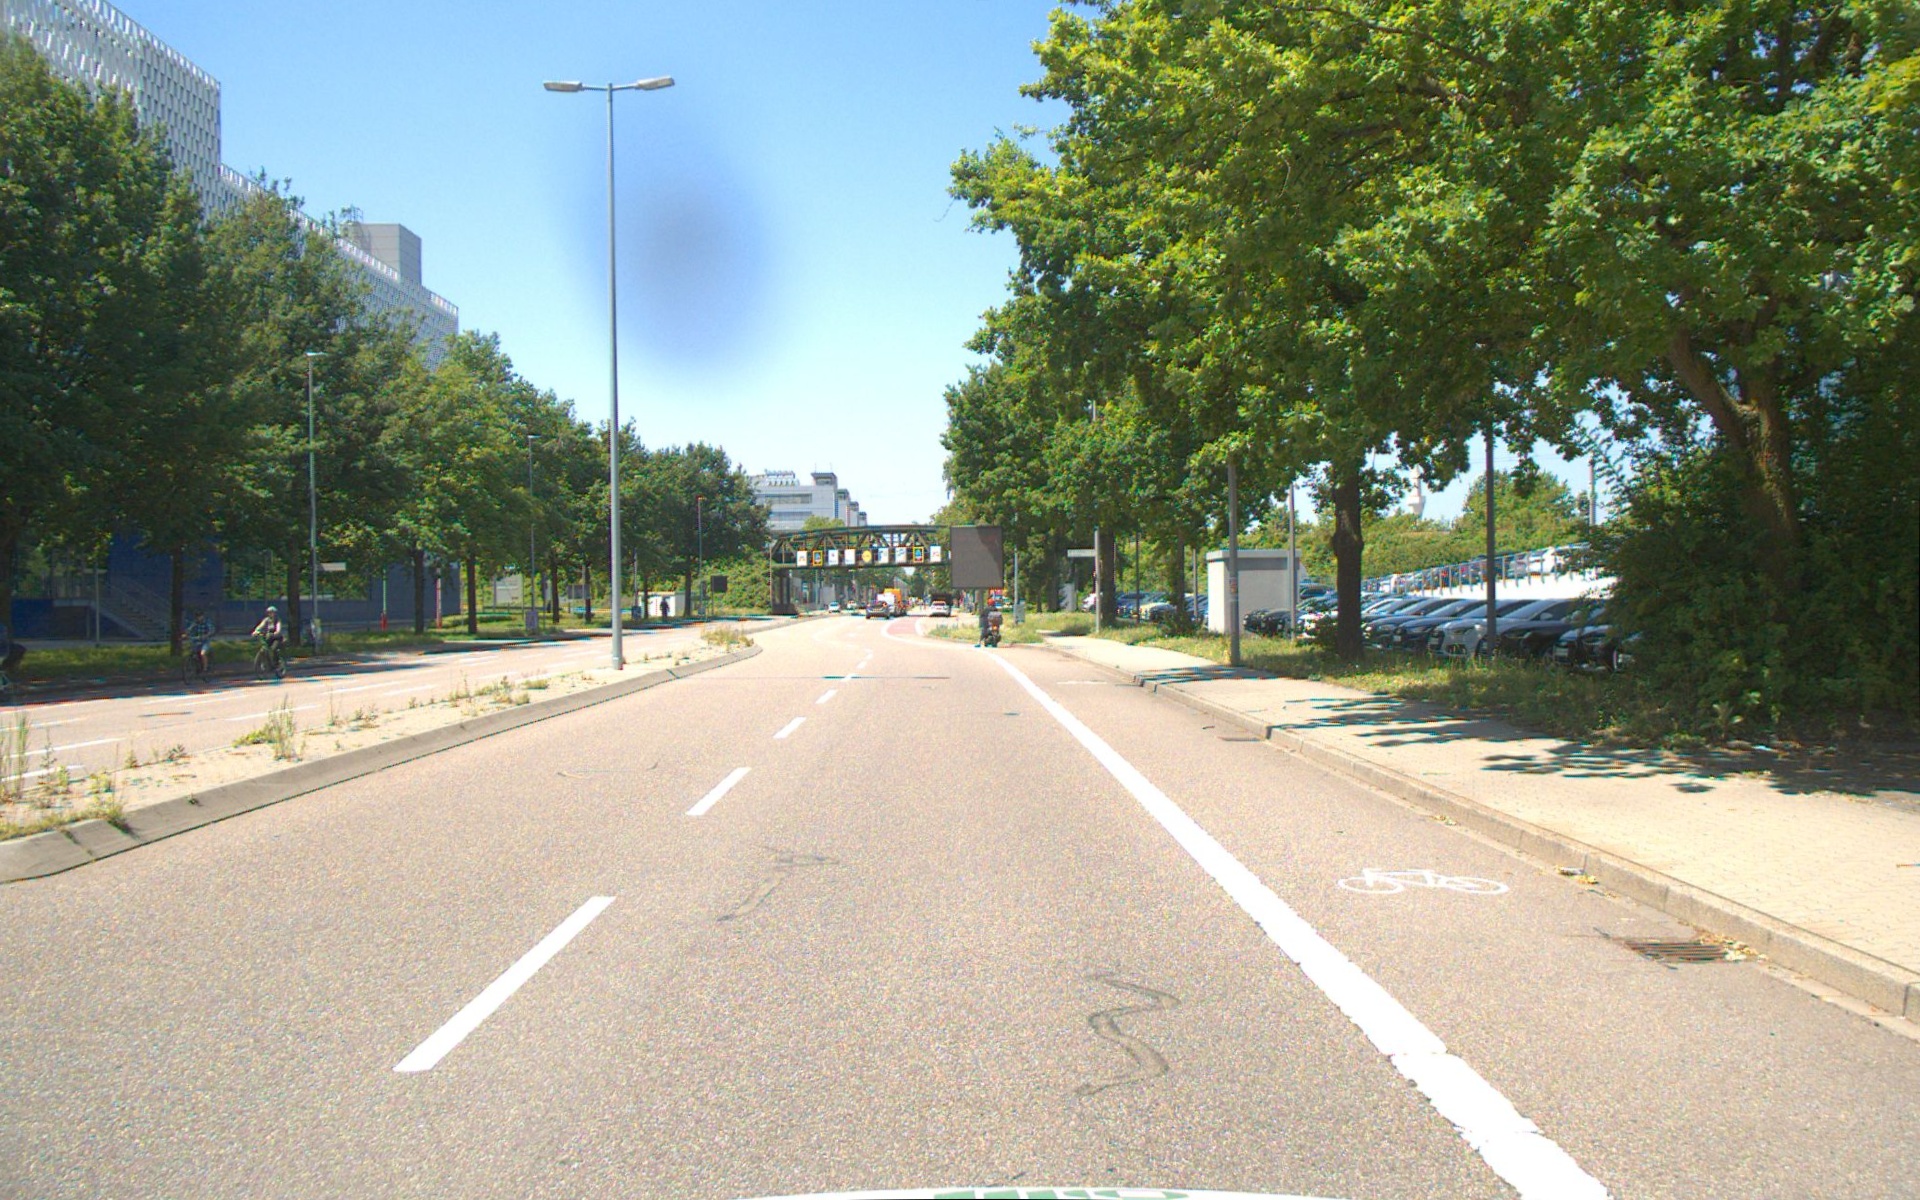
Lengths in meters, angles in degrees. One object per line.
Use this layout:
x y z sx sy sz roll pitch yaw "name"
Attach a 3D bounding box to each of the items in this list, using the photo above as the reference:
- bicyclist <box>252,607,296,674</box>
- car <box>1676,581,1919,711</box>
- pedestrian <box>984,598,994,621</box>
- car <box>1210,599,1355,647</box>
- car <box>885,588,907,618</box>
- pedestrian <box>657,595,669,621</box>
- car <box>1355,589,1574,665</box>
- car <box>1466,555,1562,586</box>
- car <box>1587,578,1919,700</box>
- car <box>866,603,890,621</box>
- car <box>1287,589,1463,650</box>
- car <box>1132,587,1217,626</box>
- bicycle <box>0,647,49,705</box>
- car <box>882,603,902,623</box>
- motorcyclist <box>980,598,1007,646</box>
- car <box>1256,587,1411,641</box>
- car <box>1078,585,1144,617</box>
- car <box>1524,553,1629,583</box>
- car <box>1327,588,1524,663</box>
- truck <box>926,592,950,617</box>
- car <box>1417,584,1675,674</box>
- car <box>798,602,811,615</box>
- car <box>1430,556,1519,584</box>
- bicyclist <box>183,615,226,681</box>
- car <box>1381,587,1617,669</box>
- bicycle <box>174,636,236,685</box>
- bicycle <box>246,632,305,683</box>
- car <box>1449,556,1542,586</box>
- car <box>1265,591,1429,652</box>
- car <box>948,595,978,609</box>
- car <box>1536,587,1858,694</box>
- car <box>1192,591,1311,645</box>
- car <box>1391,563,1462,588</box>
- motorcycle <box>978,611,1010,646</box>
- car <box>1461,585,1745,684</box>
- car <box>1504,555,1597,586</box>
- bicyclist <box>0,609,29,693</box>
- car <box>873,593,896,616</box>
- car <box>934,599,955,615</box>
-17.309 1.011 41.745 0.621 1.657 1.044 -2 0 -2 "bicyclist"
11.427 0.610 20.408 4.359 1.417 1.833 3 0 -1 "car"
1.803 0.586 102.627 0.611 1.398 0.564 0 0 -3 "pedestrian"
10.045 0.710 51.744 4.135 1.365 1.917 1 0 -1 "car"
-6.395 0.256 165.655 2.031 2.904 6.762 -1 0 -2 "car"
-22.079 0.605 122.902 0.728 1.917 0.577 -1 0 -1 "pedestrian"
10.963 0.582 36.147 4.136 1.393 1.988 3 0 -1 "car"
26.160 -1.387 78.151 3.910 1.334 1.795 1 0 -6 "car"
11.217 0.537 23.017 4.237 1.431 1.824 3 0 -1 "car"
-6.483 0.931 131.216 1.862 1.400 4.230 -1 0 -2 "car"
11.017 0.504 44.112 4.136 1.365 1.917 3 0 -1 "car"
10.640 0.313 82.180 3.787 1.632 1.795 5 -1 -6 "car"
-19.992 1.583 34.334 0.724 1.145 2.435 -1 0 2 "bicycle"
-6.443 1.219 156.479 1.856 1.847 3.999 -1 0 -2 "car"
1.115 0.721 54.600 0.706 1.556 0.868 1 -1 -11 "motorcyclist"
11.067 0.405 49.208 4.136 1.365 1.917 3 0 -1 "car"
9.405 0.058 103.268 3.787 1.632 1.795 5 -1 -6 "car"
26.236 -1.349 70.445 3.863 1.232 1.715 0 0 -6 "car"
10.882 0.591 38.847 4.047 1.404 1.778 4 0 -1 "car"
-2.296 0.430 172.124 2.409 2.452 7.132 1 0 -1 "truck"
10.962 0.530 31.147 4.136 1.431 1.917 3 0 -1 "car"
-22.493 1.238 239.361 1.681 1.763 3.804 0 0 -3 "car"
26.033 -1.509 83.755 3.910 1.334 1.795 -1 0 -6 "car"
-18.918 1.192 41.420 0.624 1.610 0.884 -1 0 1 "bicyclist"
10.902 0.554 33.669 4.136 1.432 1.917 3 0 -1 "car"
-18.915 1.495 41.476 0.624 1.153 1.971 -1 0 1 "bicycle"
-17.290 1.435 41.825 0.616 1.179 2.116 -3 0 -2 "bicycle"
26.146 -1.410 80.806 3.910 1.334 1.795 -1 0 -6 "car"
10.912 0.595 46.824 4.136 1.477 1.917 3 0 -1 "car"
0.391 0.231 223.282 3.903 1.780 1.893 -1 0 4 "car"
11.379 0.604 25.737 4.136 1.379 1.879 3 0 -1 "car"
10.748 0.649 61.098 3.910 1.646 1.795 5 -1 -6 "car"
25.717 -1.341 91.208 3.453 1.261 1.540 1 0 -3 "car"
1.112 0.937 54.597 0.703 1.124 1.825 1 0 -11 "motorcycle"
11.060 0.574 28.646 4.136 1.431 1.917 3 0 -1 "car"
26.113 -1.293 73.186 3.455 1.261 1.675 1 0 -6 "car"
-19.999 1.044 34.366 0.729 1.715 0.952 -1 0 2 "bicyclist"
-6.639 0.394 145.351 1.953 2.049 3.998 0 0 -2 "car"
-1.424 0.659 153.189 1.885 1.445 3.998 0 0 -2 "car"
